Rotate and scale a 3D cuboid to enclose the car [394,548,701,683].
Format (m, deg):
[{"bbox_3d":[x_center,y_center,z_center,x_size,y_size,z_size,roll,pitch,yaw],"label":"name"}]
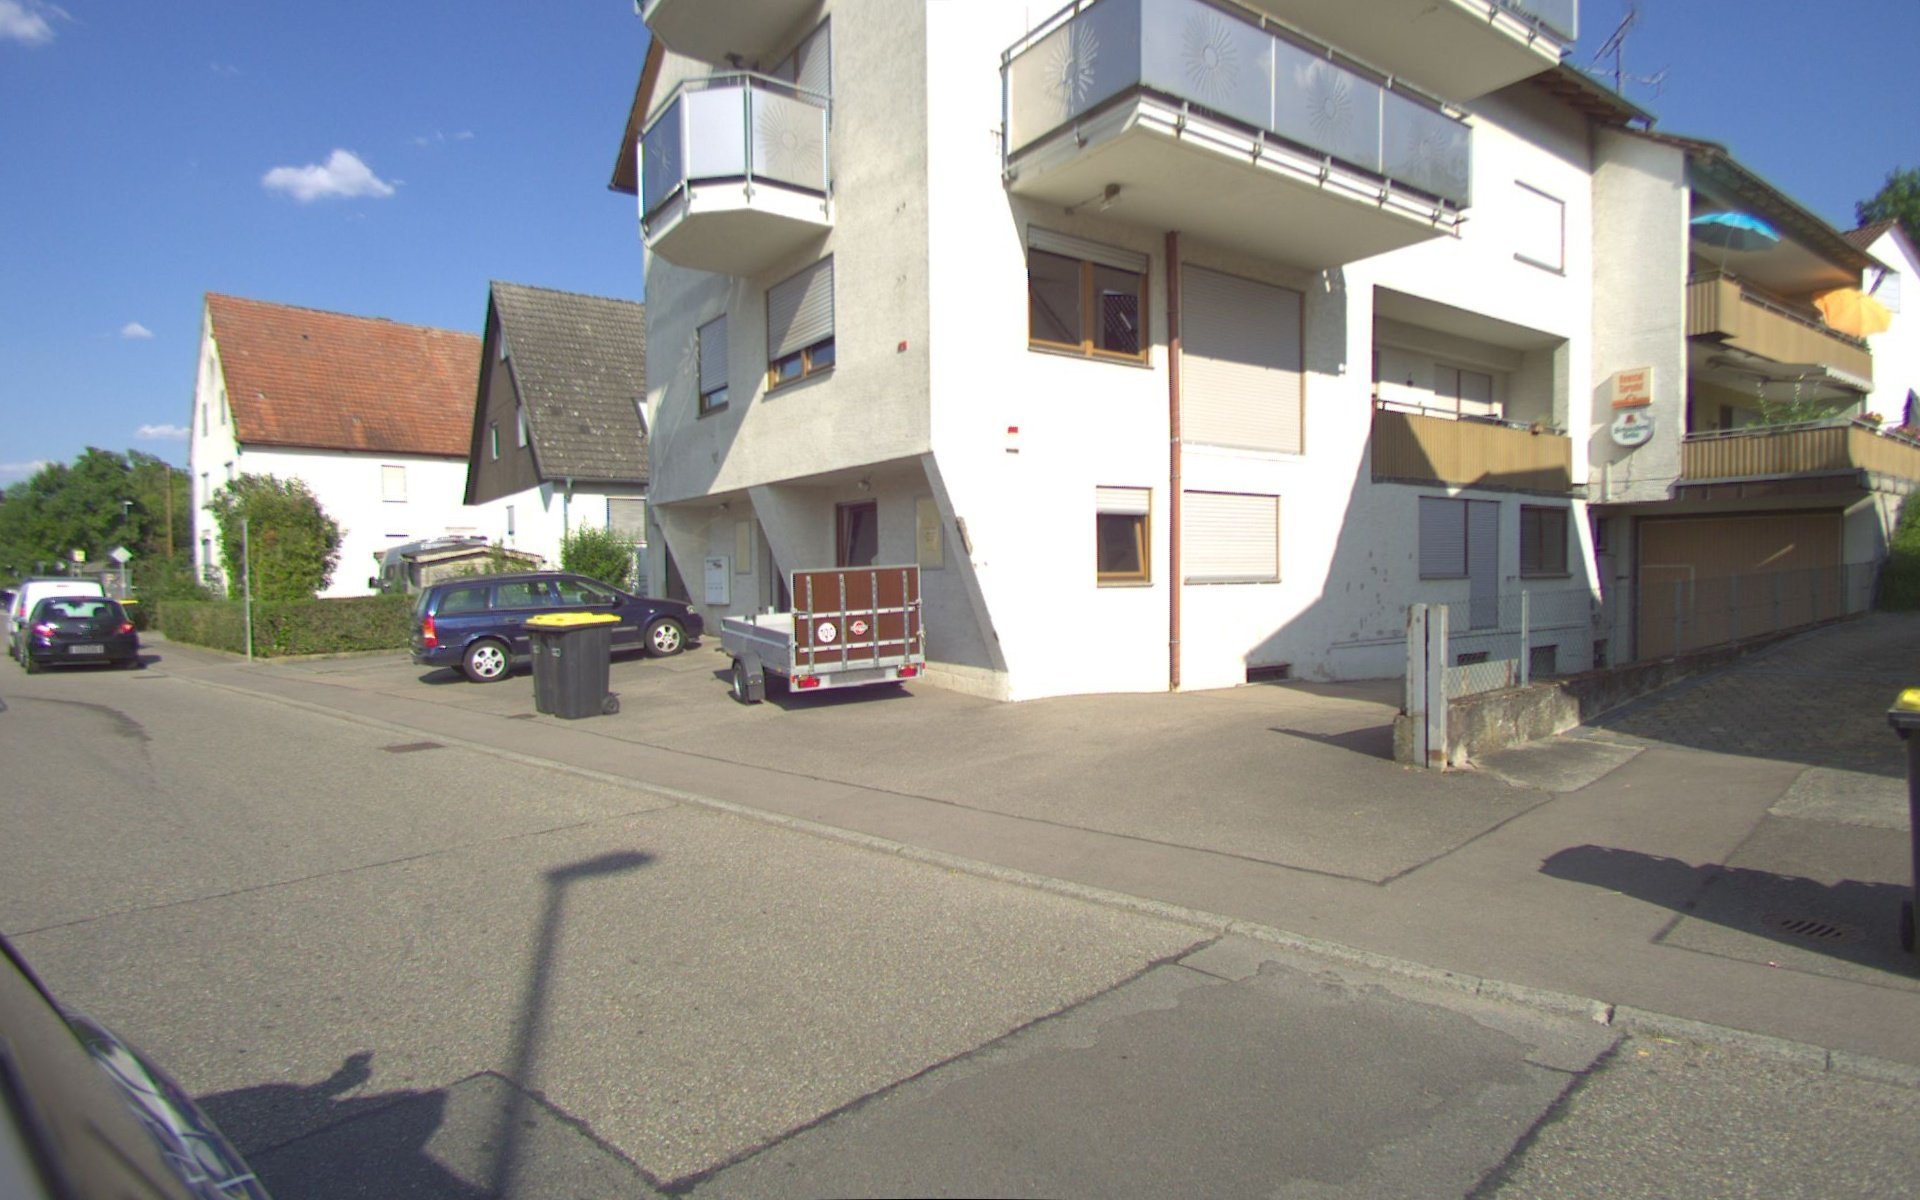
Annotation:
[{"bbox_3d":[-6.234,0.148,15.468,3.936,1.549,1.767,-7,4,-36],"label":"car"}]

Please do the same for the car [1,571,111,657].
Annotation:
[{"bbox_3d":[-21.844,0.293,24.394,4.193,1.887,1.697,0,0,44],"label":"car"}]

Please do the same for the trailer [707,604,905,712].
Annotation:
[{"bbox_3d":[-1.898,0.602,11.913,1.311,0.861,2.901,-4,5,-30],"label":"trailer"}]

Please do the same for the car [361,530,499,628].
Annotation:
[{"bbox_3d":[-15.923,-0.619,30.220,2.132,2.615,6.102,-3,2,-42],"label":"car"}]

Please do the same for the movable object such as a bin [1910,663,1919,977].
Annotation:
[{"bbox_3d":[3.789,0.797,3.653,0.508,1.092,0.582,0,-1,42],"label":"movable object such as a bin"}]

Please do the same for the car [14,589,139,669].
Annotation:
[{"bbox_3d":[-17.986,0.513,20.547,1.653,1.462,3.836,-1,1,-45],"label":"car"}]

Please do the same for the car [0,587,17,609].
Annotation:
[{"bbox_3d":[-66.594,-0.119,67.721,1.759,1.442,4.811,1,1,21],"label":"car"}]

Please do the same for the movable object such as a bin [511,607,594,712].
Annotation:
[{"bbox_3d":[-4.548,0.642,11.293,0.619,1.079,0.593,0,4,42],"label":"movable object such as a bin"}]

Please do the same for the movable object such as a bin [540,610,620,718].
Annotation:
[{"bbox_3d":[-4.075,0.665,10.855,0.557,1.079,0.564,0,4,42],"label":"movable object such as a bin"}]
